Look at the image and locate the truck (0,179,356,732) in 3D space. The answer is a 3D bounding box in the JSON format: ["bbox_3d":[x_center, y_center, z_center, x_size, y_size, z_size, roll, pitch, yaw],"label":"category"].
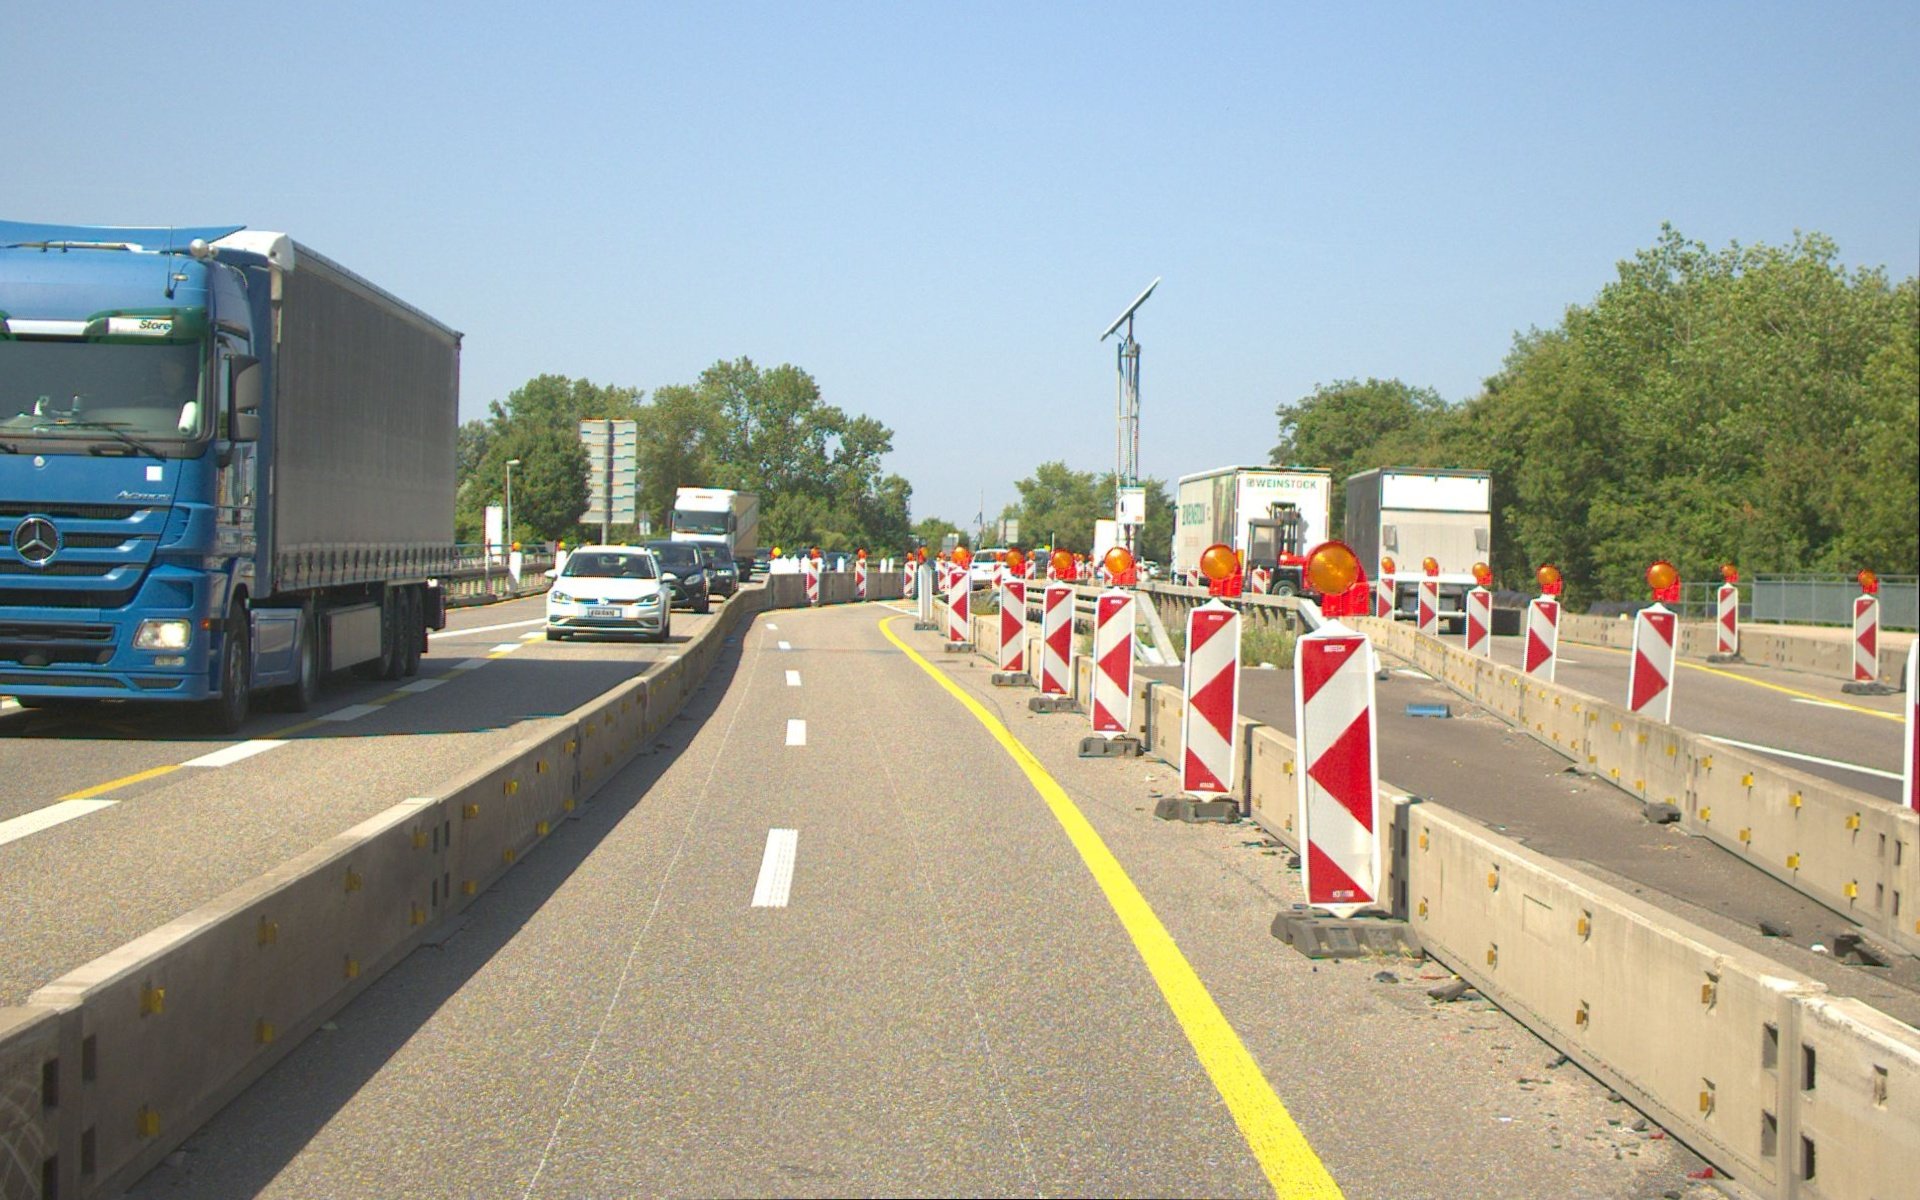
[{"bbox_3d":[-6.783,-1.112,27.834,2.815,3.976,5.986,1,1,-1],"label":"truck"}]

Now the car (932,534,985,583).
[{"bbox_3d":[-0.070,-1.534,127.356,1.816,1.770,4.000,1,1,-2],"label":"car"}]

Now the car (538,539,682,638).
[{"bbox_3d":[-5.332,-0.205,52.838,1.814,1.412,4.153,1,1,-1],"label":"car"}]

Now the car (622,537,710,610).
[{"bbox_3d":[-6.500,-0.601,76.337,1.738,1.546,3.943,1,1,-2],"label":"car"}]

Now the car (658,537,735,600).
[{"bbox_3d":[-7.159,-0.875,93.744,1.863,1.626,4.566,1,1,-2],"label":"car"}]

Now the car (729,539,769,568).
[{"bbox_3d":[-11.343,-2.491,184.898,1.932,1.503,4.469,1,1,-2],"label":"car"}]

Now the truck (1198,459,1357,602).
[{"bbox_3d":[8.678,-1.897,94.873,3.388,3.761,7.234,1,1,-2],"label":"truck"}]

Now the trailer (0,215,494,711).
[{"bbox_3d":[-6.933,-1.265,34.849,2.803,4.029,13.469,1,1,-1],"label":"trailer"}]

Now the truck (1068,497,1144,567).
[{"bbox_3d":[9.099,-4.199,215.262,4.220,4.252,10.241,1,1,0],"label":"truck"}]

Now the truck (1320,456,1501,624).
[{"bbox_3d":[9.536,-1.286,73.534,2.634,3.416,7.234,0,1,-2],"label":"truck"}]

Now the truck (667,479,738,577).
[{"bbox_3d":[-11.099,-3.077,148.418,2.749,4.122,6.416,1,1,-2],"label":"truck"}]
